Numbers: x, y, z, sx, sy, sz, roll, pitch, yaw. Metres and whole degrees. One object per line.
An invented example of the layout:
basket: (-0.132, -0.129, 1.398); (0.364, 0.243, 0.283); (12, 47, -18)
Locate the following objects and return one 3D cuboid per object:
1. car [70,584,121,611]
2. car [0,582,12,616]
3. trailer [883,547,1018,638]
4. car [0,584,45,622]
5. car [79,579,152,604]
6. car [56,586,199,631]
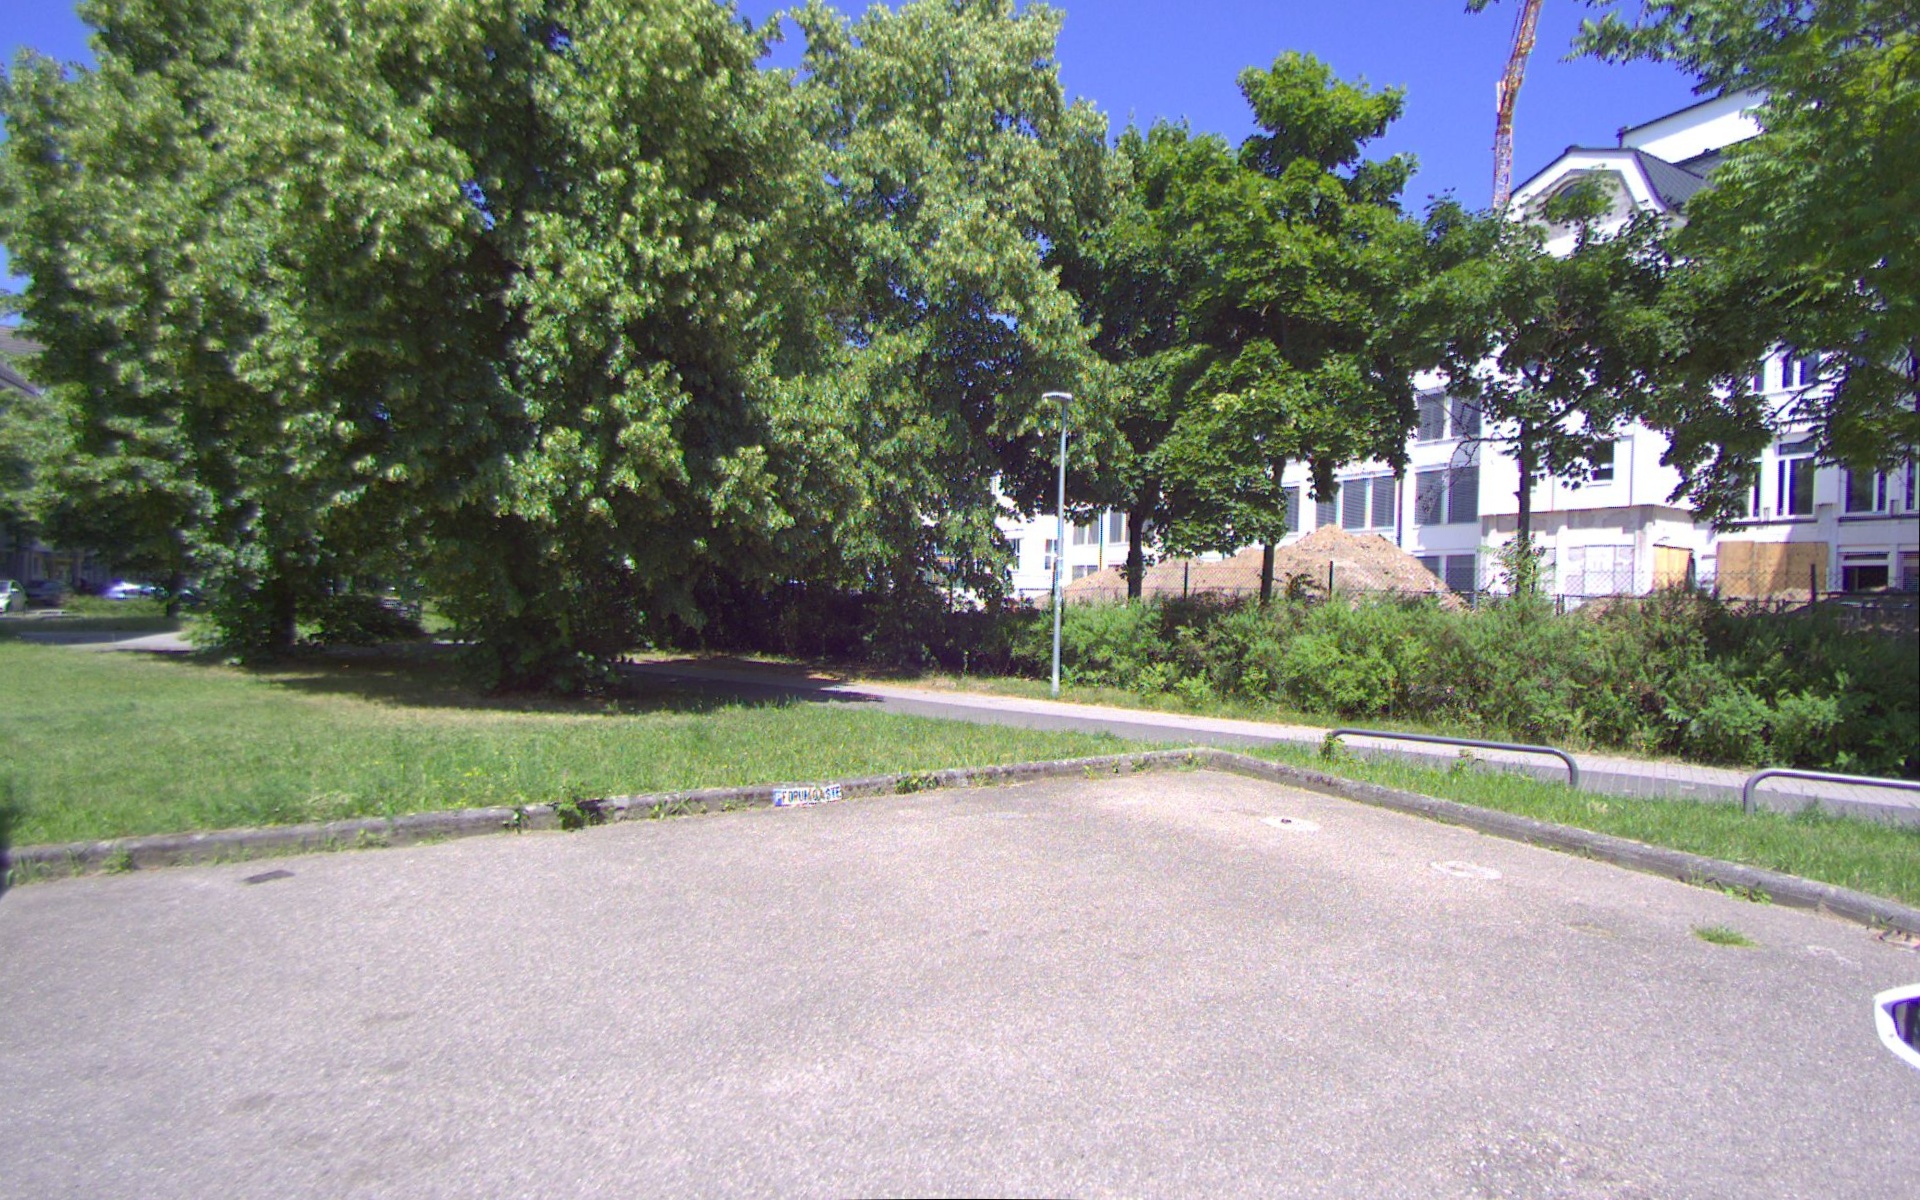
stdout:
car: (-56.684, -0.168, 65.923); (1.955, 1.639, 4.133); (2, -1, -33)
car: (-46.788, -0.078, 47.404); (1.953, 1.639, 4.138); (2, -1, -29)
trailer: (-0.648, -0.338, 44.124); (2.997, 3.466, 8.728); (2, 0, -21)
car: (-43.234, 0.099, 45.257); (1.952, 1.639, 4.139); (2, -1, -29)
car: (-62.787, -0.627, 74.771); (3.961, 1.756, 1.774); (2, 0, -36)
car: (-33.481, 0.348, 40.569); (4.125, 1.639, 1.959); (2, -1, -32)
